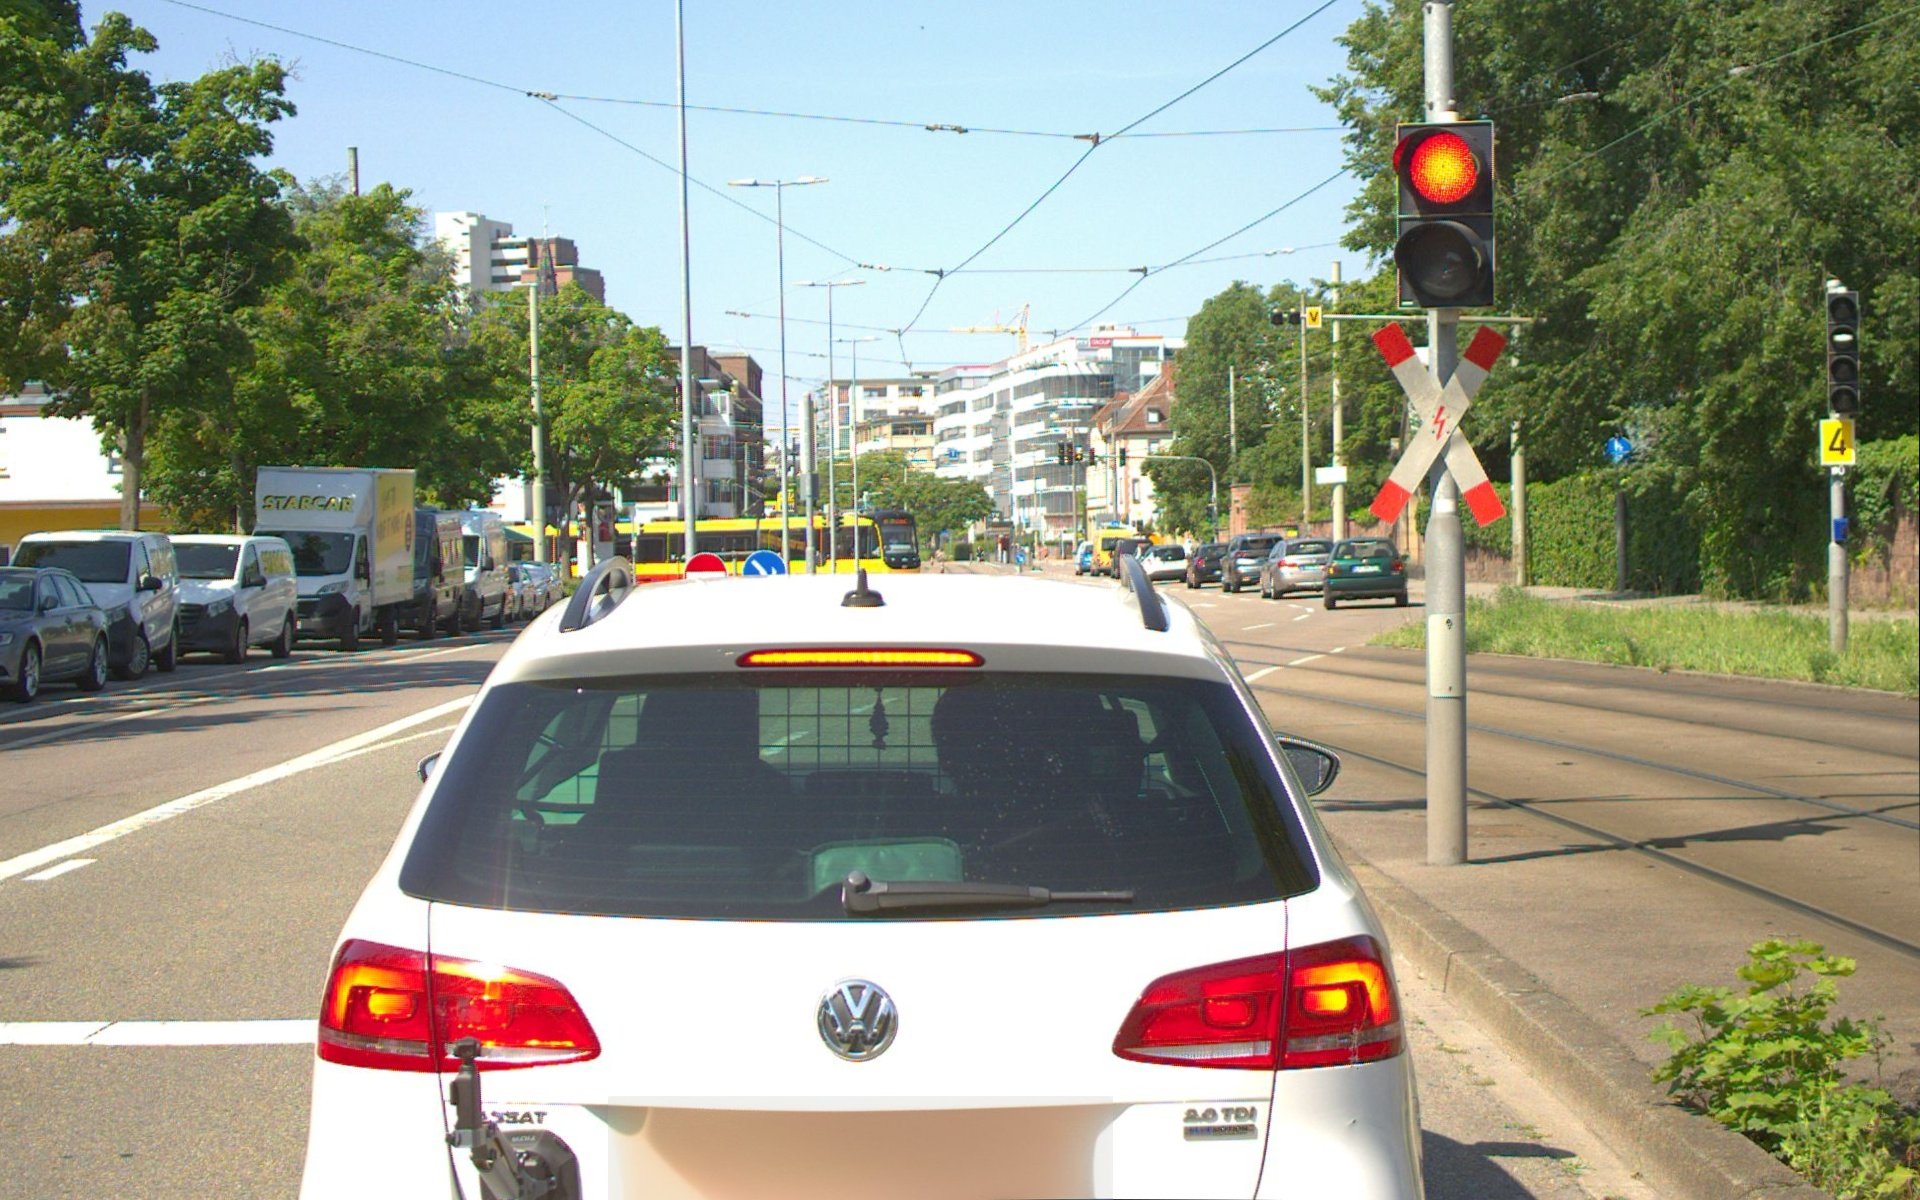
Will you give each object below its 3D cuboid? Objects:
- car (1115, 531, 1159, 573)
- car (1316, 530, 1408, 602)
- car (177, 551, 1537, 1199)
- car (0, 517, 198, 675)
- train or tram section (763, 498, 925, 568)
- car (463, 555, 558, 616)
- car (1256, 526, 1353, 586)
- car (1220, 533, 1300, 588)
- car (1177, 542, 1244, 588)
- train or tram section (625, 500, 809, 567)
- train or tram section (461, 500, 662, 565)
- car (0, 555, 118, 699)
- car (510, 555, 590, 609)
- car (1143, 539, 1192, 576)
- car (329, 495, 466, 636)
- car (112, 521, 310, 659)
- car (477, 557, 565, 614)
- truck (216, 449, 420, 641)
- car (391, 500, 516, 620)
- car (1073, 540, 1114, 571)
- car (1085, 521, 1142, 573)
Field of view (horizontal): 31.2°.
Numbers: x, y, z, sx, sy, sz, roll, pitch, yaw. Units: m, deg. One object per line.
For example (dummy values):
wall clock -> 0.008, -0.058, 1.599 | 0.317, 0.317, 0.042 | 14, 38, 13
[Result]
car -> 7.809, -2.097, 152.229 | 1.691, 1.806, 3.454 | 1, 0, -1
car -> 8.039, -0.698, 68.583 | 1.746, 1.383, 3.912 | 1, 1, 7
car -> -0.186, 0.653, 6.461 | 1.768, 1.441, 3.913 | 1, 1, -1
car -> -11.449, -0.096, 45.649 | 1.843, 1.930, 5.195 | -2, 1, -4
train or tram section -> -5.692, -3.206, 165.750 | 2.301, 3.241, 11.274 | 1, 0, -33
car -> -11.177, -0.376, 85.685 | 1.843, 1.428, 4.038 | -1, 1, -1
car -> 8.450, -1.098, 84.657 | 1.861, 1.412, 4.325 | 1, 1, -1
car -> 8.498, -1.138, 97.637 | 1.861, 1.508, 3.913 | 1, 1, -1
car -> 8.031, -1.138, 110.492 | 1.746, 1.403, 3.913 | 1, 1, -1
train or tram section -> -12.336, -3.366, 173.637 | 10.798, 3.241, 2.303 | 1, 0, 41
train or tram section -> -20.842, -3.542, 179.441 | 10.999, 3.241, 2.305 | 1, 0, 27
car -> -10.965, 0.277, 38.913 | 1.843, 1.511, 4.197 | -1, 1, -1
car -> -11.529, -0.521, 96.827 | 1.780, 1.428, 4.038 | -1, 1, -1
car -> 7.889, -1.603, 130.690 | 1.581, 1.341, 3.454 | 1, 0, -1
car -> -11.111, -0.707, 68.241 | 1.843, 2.659, 5.003 | -1, 1, 0
car -> -11.314, -0.191, 52.290 | 1.843, 1.954, 5.134 | -1, 1, 0
car -> -11.692, -0.407, 91.736 | 1.843, 1.428, 4.038 | -1, 1, -1
truck -> -11.157, -0.981, 60.298 | 2.356, 3.112, 6.892 | -1, 1, -1
car -> -11.132, -0.909, 75.910 | 1.843, 2.486, 5.857 | -1, 1, 0
car -> 7.144, -2.391, 184.685 | 1.993, 1.590, 4.000 | 1, 0, 0
car -> 7.572, -2.593, 170.170 | 2.463, 2.490, 5.910 | 1, 0, -1
